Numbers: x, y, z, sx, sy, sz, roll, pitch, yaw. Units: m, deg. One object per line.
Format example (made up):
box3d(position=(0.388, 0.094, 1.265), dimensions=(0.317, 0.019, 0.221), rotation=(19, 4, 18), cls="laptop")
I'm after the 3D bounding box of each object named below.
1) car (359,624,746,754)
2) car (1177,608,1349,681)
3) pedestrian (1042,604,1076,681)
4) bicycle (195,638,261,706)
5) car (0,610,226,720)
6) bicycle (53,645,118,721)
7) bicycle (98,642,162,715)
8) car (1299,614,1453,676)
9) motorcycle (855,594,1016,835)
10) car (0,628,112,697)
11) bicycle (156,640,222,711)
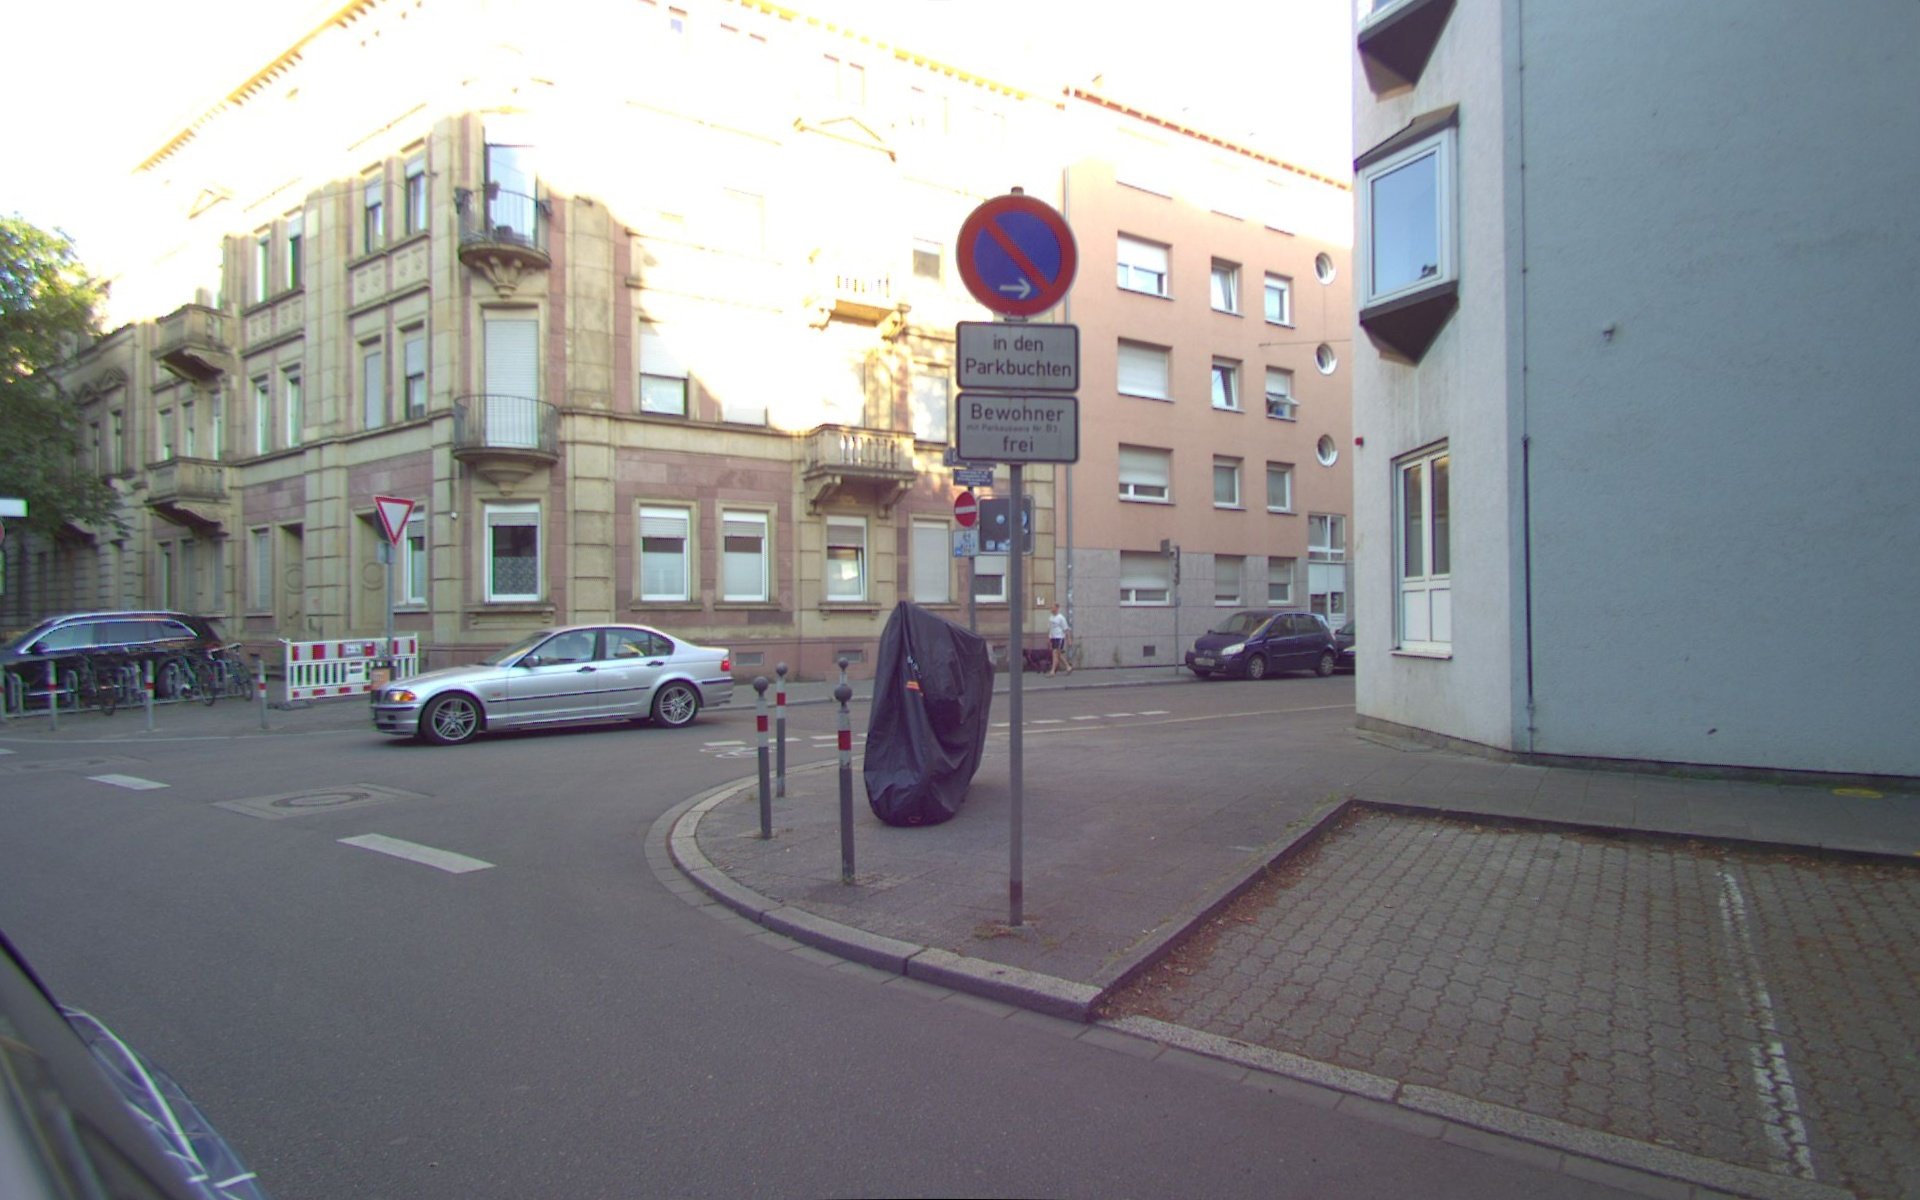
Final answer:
box3d(position=(-5.192, 1.062, 13.152), dimensions=(4.397, 1.414, 1.686), rotation=(1, -3, -35), cls="car")
box3d(position=(7.281, 1.030, 24.255), dimensions=(3.985, 1.637, 1.700), rotation=(0, -2, -32), cls="car")
box3d(position=(2.280, 0.969, 23.281), dimensions=(0.559, 1.757, 0.552), rotation=(1, -2, -34), cls="pedestrian")
box3d(position=(-12.830, 1.240, 17.727), dimensions=(1.866, 1.097, 0.360), rotation=(0, 1, 36), cls="bicycle")
box3d(position=(-16.128, 1.108, 18.097), dimensions=(1.773, 1.751, 4.536), rotation=(0, 1, 36), cls="car")
box3d(position=(-13.970, 1.301, 16.154), dimensions=(1.866, 1.097, 0.360), rotation=(0, 1, 36), cls="bicycle")
box3d(position=(-13.783, 1.278, 16.790), dimensions=(1.866, 1.097, 0.360), rotation=(0, 1, 36), cls="bicycle")
box3d(position=(11.133, 1.162, 27.015), dimensions=(4.211, 1.525, 1.699), rotation=(0, -2, -33), cls="car")
box3d(position=(-0.111, 0.770, 7.712), dimensions=(0.663, 1.567, 2.152), rotation=(-1, -1, 14), cls="motorcycle")
box3d(position=(-22.205, 1.428, 22.848), dimensions=(1.773, 1.499, 4.392), rotation=(-2, -2, 36), cls="car")
box3d(position=(-13.154, 1.263, 17.246), dimensions=(1.866, 1.097, 0.360), rotation=(0, 1, 36), cls="bicycle")
